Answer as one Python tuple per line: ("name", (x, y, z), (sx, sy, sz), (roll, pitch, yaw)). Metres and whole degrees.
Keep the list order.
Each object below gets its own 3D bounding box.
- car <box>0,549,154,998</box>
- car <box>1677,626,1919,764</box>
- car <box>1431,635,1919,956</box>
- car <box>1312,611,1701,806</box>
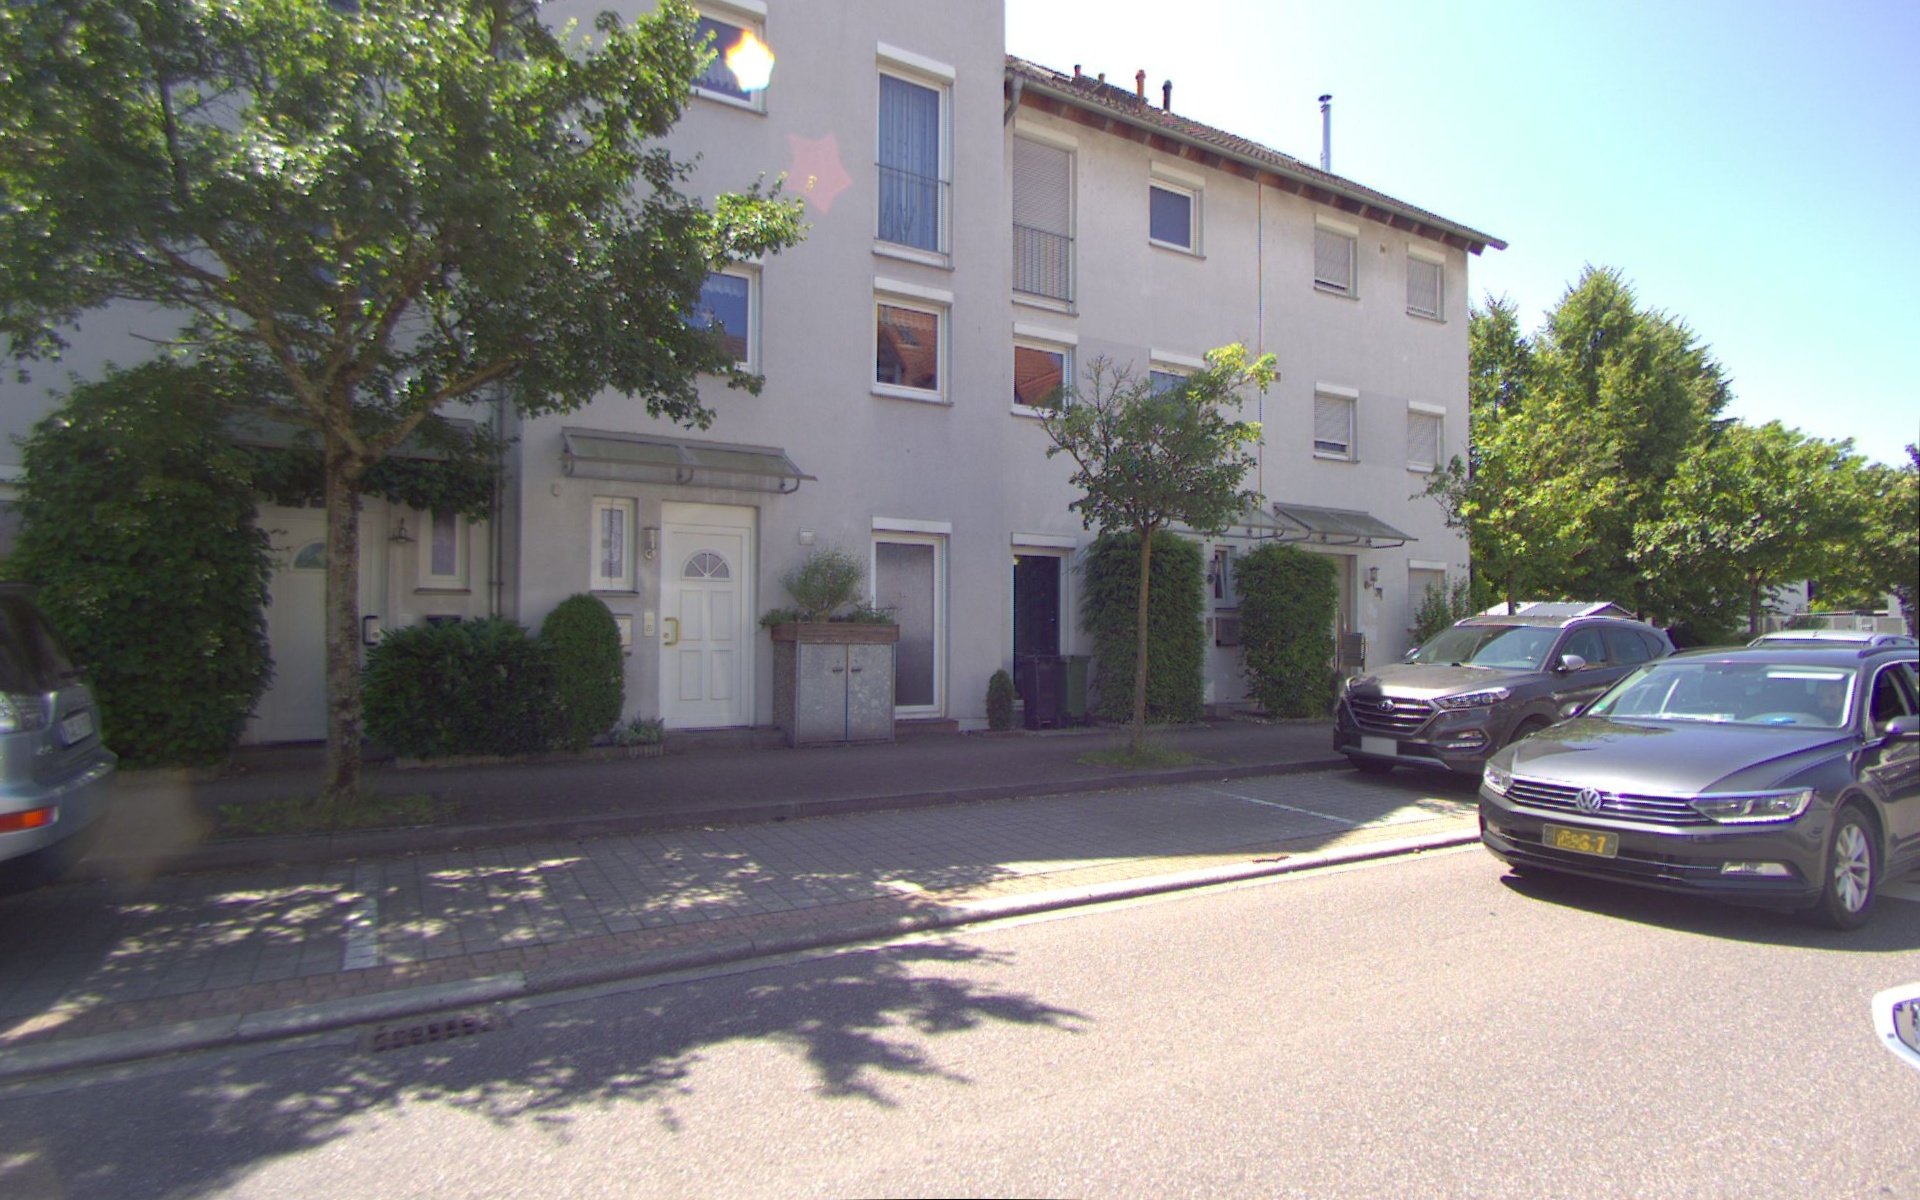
("car", (-5.816, 0.614, 3.484), (4.475, 1.709, 1.697), (2, -1, -32))
("car", (11.599, 1.189, 13.625), (3.794, 1.602, 1.689), (2, -1, -31))
("car", (5.167, 0.995, 6.516), (4.209, 1.475, 1.775), (2, -3, -31))
("car", (5.631, 0.980, 10.252), (3.950, 1.641, 1.684), (2, -1, -30))
